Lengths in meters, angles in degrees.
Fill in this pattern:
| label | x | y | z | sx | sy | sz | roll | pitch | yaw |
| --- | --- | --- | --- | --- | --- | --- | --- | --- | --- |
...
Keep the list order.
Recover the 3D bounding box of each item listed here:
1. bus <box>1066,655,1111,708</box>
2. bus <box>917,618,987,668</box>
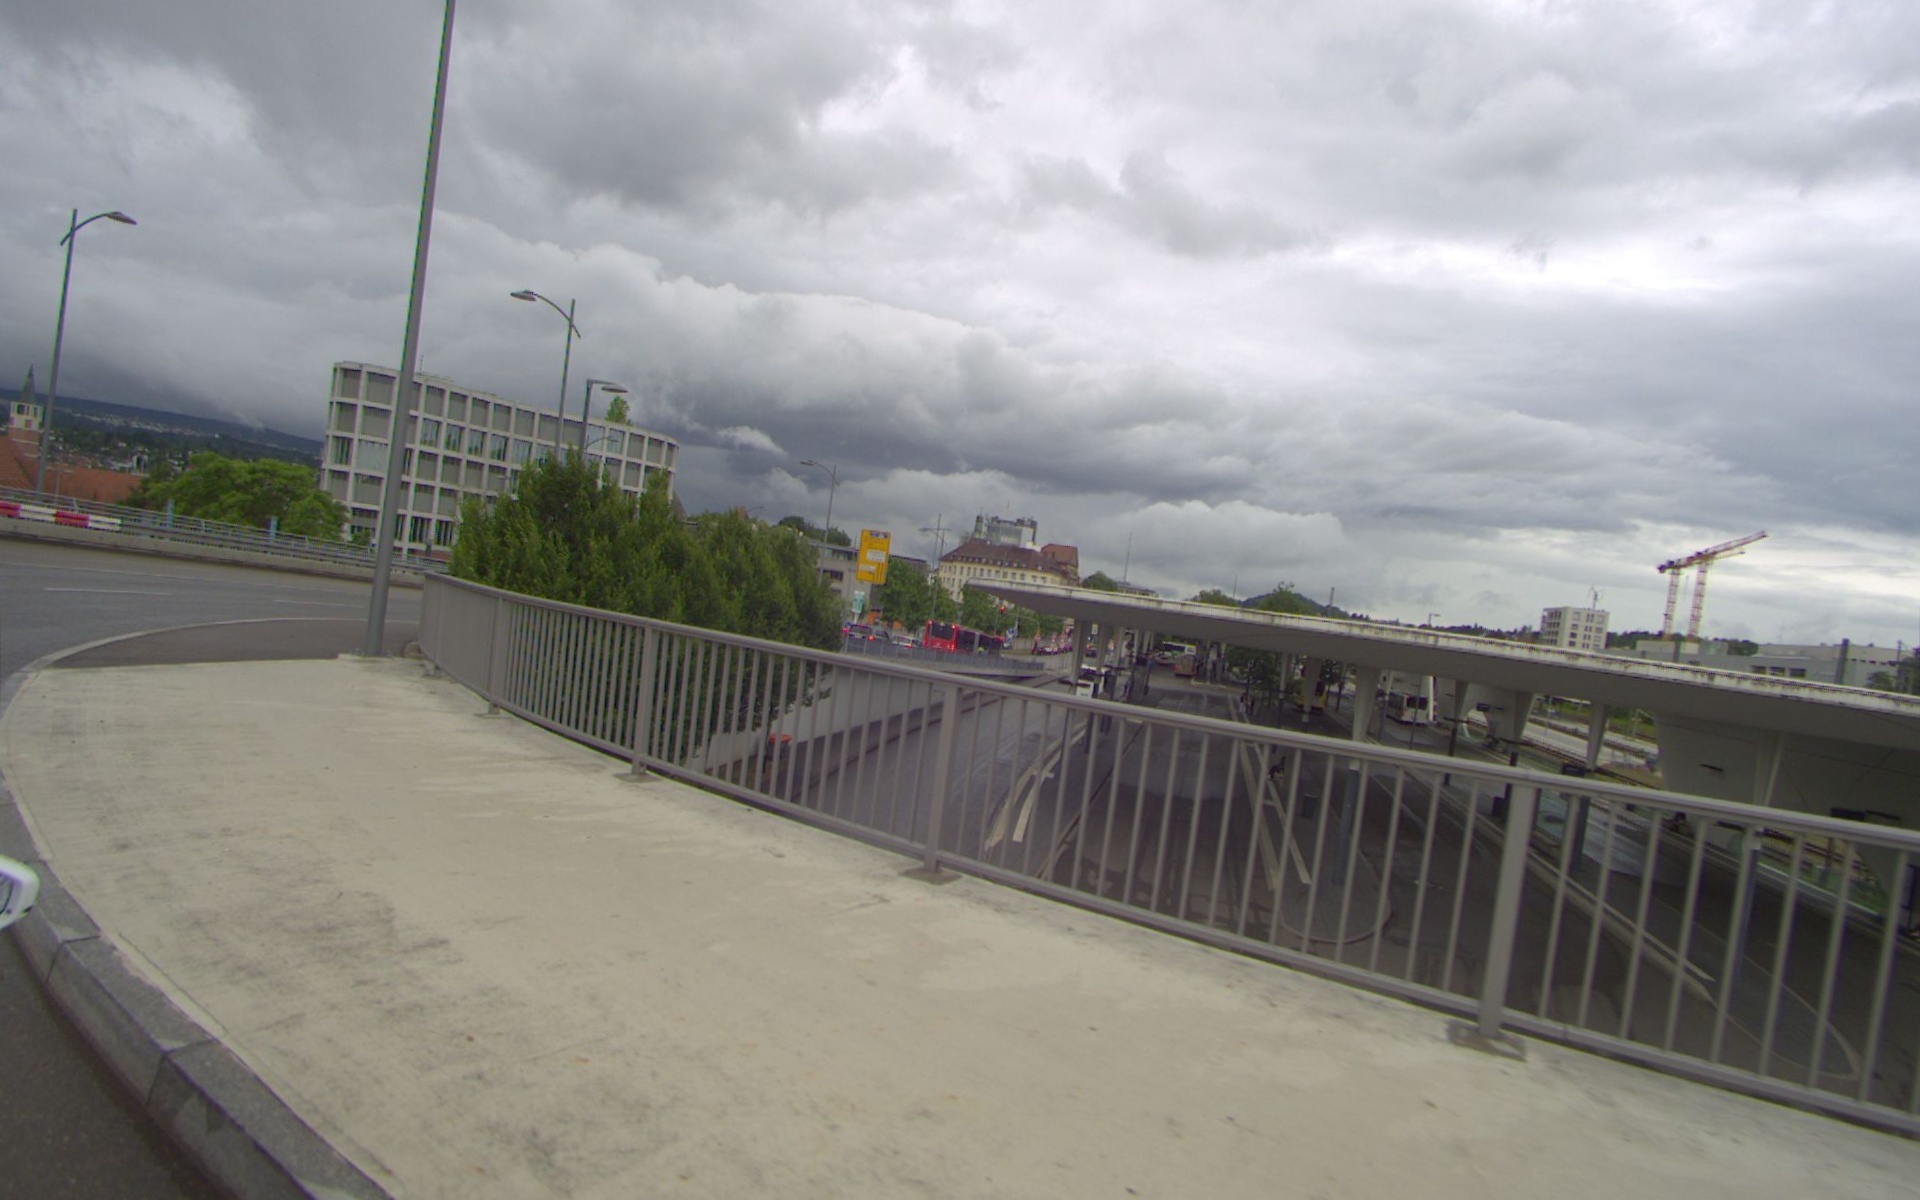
| label | x | y | z | sx | sy | sz | roll | pitch | yaw |
| --- | --- | --- | --- | --- | --- | --- | --- | --- | --- |
| bus | 10.059 | 6.251 | 78.281 | 2.604 | 3.278 | 7.069 | 8 | 2 | 11 |
| bus | -0.493 | 3.580 | 81.146 | 2.783 | 3.224 | 10.324 | 10 | -2 | 14 |
